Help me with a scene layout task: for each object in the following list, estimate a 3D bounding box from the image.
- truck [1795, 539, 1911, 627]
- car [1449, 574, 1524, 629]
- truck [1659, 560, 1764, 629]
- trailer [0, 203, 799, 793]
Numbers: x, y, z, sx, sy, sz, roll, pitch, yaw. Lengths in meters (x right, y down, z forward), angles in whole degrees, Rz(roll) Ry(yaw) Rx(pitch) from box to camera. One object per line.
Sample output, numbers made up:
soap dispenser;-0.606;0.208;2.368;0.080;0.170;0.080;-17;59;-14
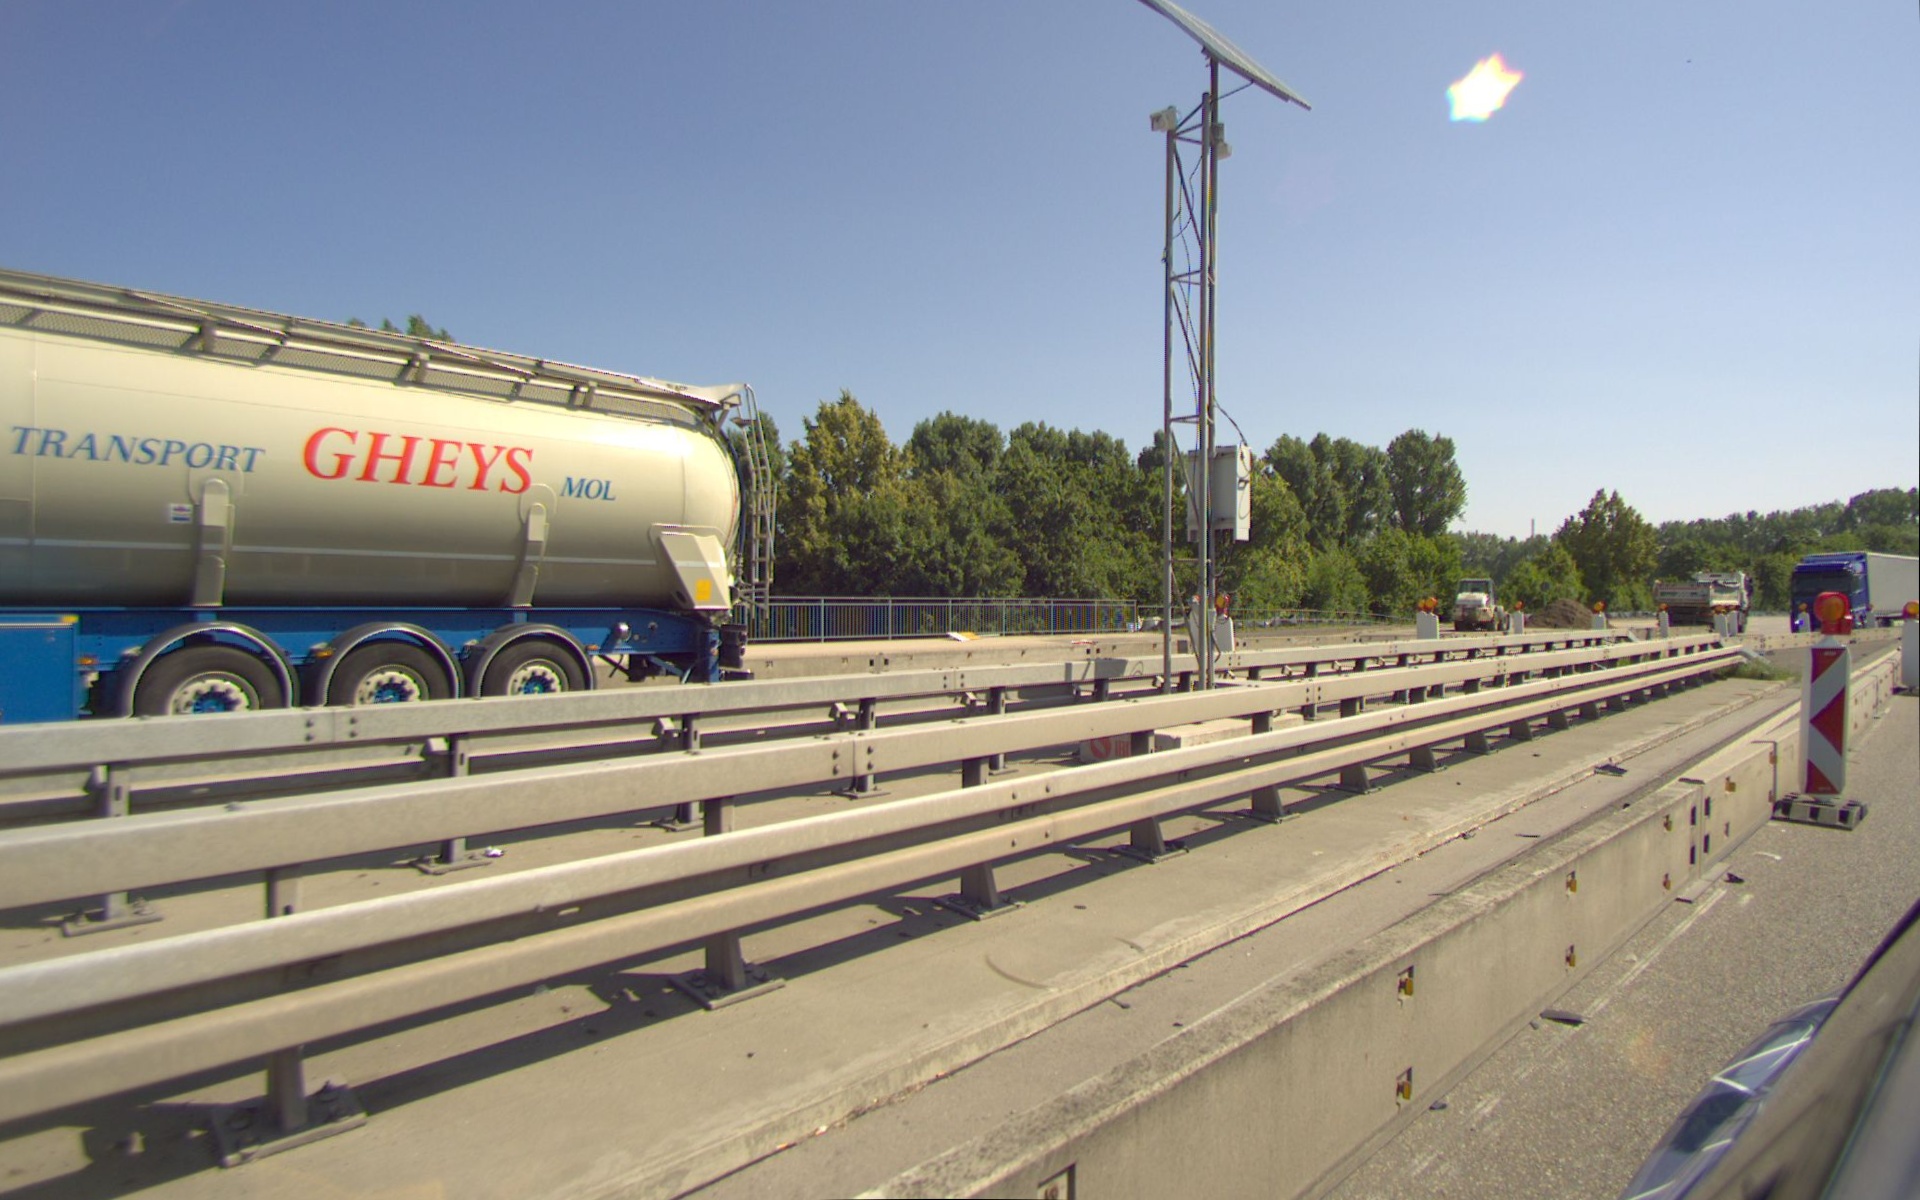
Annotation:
truck;44.430;-0.834;50.259;8.508;4.035;2.861;0;1;-38
car;27.080;0.030;51.928;2.102;2.675;5.896;1;1;41
truck;40.560;-0.332;54.497;8.580;3.475;2.604;0;1;-40
trailer;-7.282;-0.747;8.624;12.406;4.189;2.696;0;1;-44
